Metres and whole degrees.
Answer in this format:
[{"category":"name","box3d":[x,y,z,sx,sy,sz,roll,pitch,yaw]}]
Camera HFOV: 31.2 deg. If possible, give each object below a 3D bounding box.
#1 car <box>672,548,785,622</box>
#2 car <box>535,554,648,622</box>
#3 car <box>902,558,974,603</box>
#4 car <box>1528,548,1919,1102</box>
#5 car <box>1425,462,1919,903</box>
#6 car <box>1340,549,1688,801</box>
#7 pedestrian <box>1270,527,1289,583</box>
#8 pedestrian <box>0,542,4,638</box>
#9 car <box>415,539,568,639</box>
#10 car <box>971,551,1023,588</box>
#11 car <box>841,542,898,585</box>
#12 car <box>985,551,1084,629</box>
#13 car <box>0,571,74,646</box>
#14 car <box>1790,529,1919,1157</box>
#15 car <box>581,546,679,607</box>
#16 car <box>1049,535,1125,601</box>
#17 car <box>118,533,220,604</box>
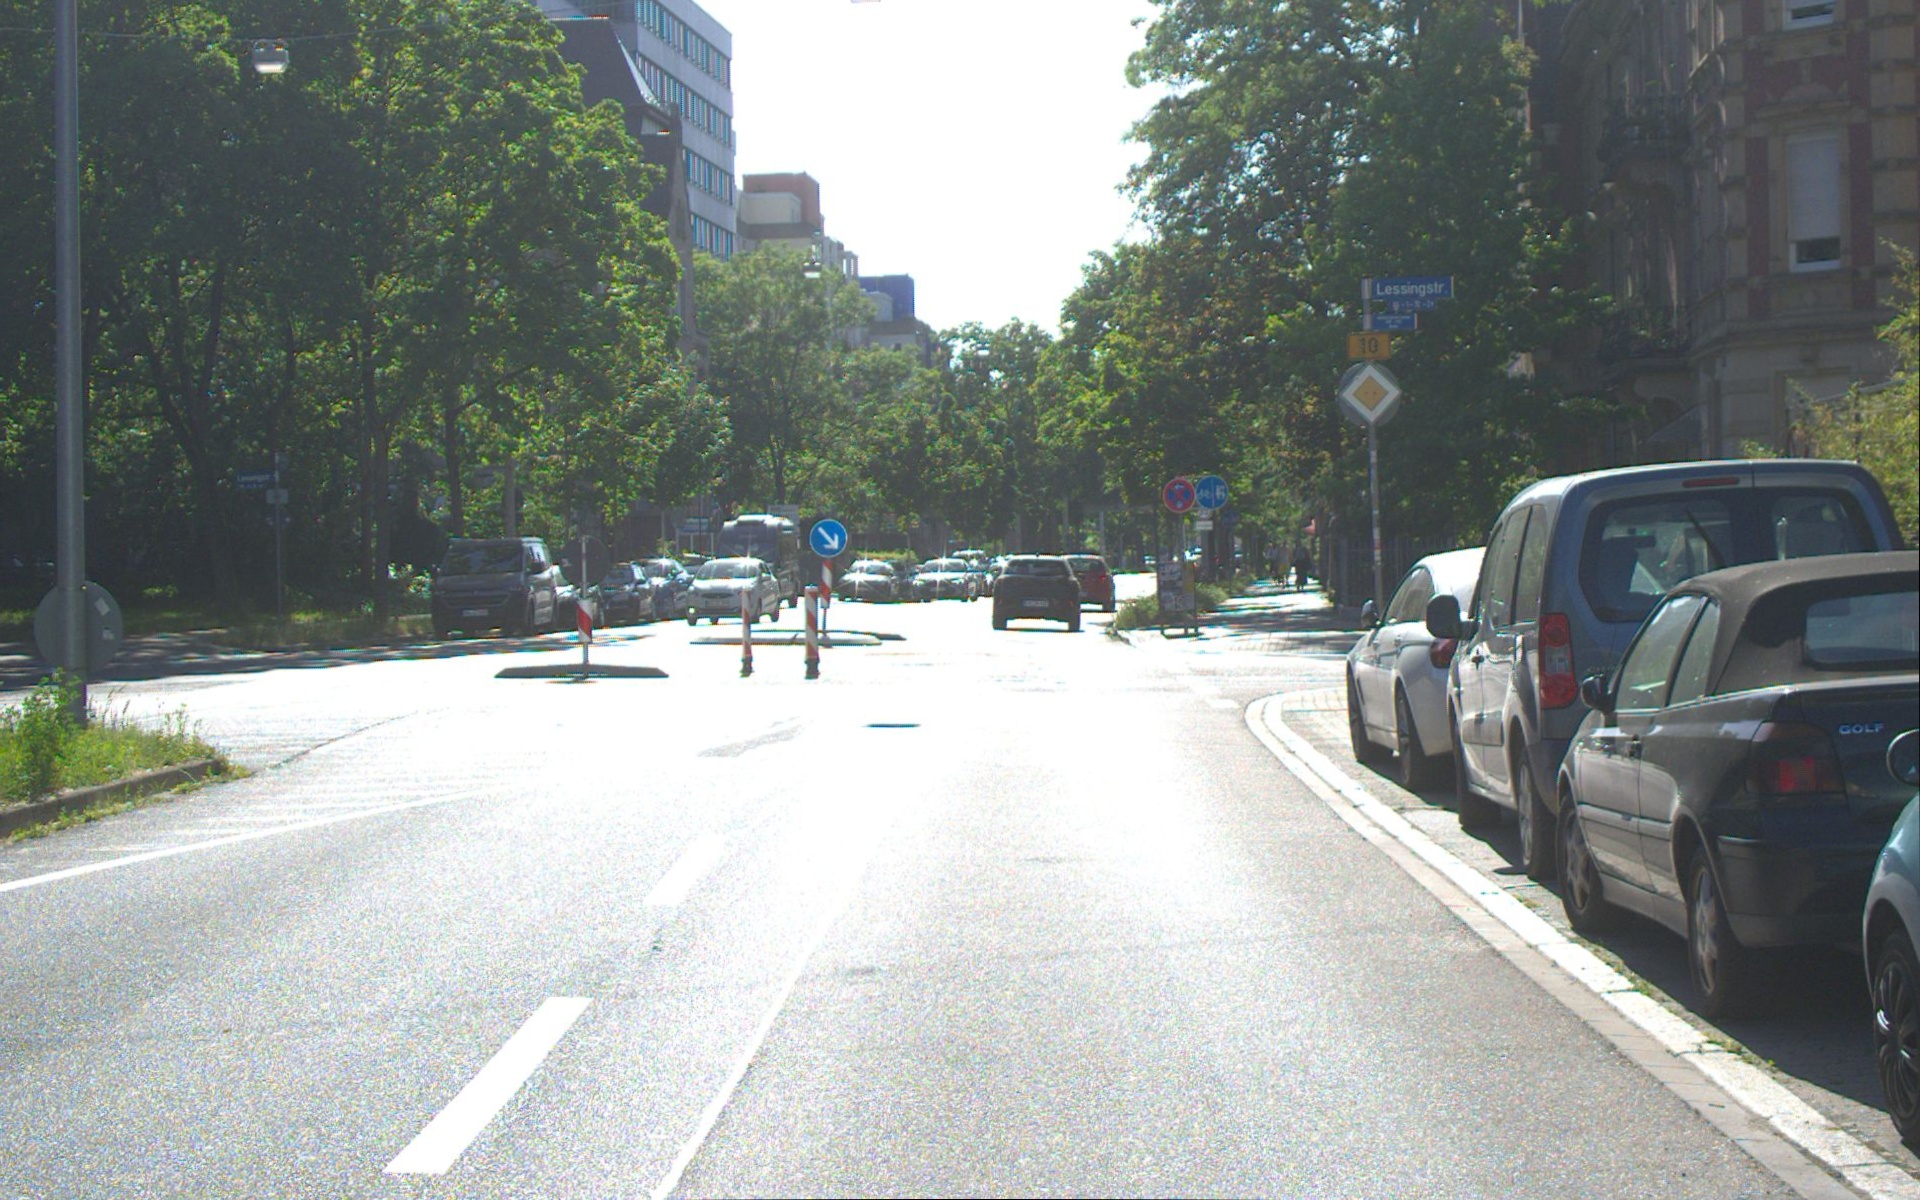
[{"category":"car","box3d":[-5.211,-0.362,77.837,1.759,1.514,3.858,-2,2,8]},{"category":"car","box3d":[-8.705,-0.308,81.441,1.759,1.514,3.858,-1,1,8]},{"category":"car","box3d":[-0.704,-0.623,113.862,1.785,1.455,4.414,0,0,8]},{"category":"car","box3d":[3.006,0.586,11.550,1.668,1.463,4.274,-1,1,3]},{"category":"car","box3d":[3.380,0.299,16.720,1.819,1.837,4.364,-1,1,3]},{"category":"car","box3d":[3.422,0.401,21.898,1.709,1.420,4.205,0,1,3]},{"category":"pedestrian","box3d":[11.365,-1.601,122.271,0.614,2.007,0.681,-1,1,1]},{"category":"pedestrian","box3d":[-16.646,-0.161,57.965,0.669,1.621,0.714,0,1,34]},{"category":"car","box3d":[-9.515,-0.260,70.247,2.199,1.923,4.862,-1,1,3]},{"category":"car","box3d":[1.578,-1.288,145.247,1.639,1.514,4.029,-1,1,8]},{"category":"car","box3d":[-3.260,-1.326,124.098,1.802,1.499,3.808,-1,1,2]},{"category":"car","box3d":[1.556,-0.228,70.649,1.895,1.514,4.000,1,1,3]},{"category":"car","box3d":[-22.433,0.178,81.146,1.975,1.656,4.000,-2,1,-29]},{"category":"car","box3d":[3.045,0.561,7.383,1.621,1.465,3.299,-4,2,0]},{"category":"car","box3d":[-8.146,-0.600,85.023,1.524,1.427,3.552,-1,1,10]},{"category":"car","box3d":[3.407,-0.873,91.807,1.819,1.734,3.999,0,1,5]},{"category":"car","box3d":[-19.421,-0.778,84.343,1.974,1.656,4.001,-1,1,-19]}]
